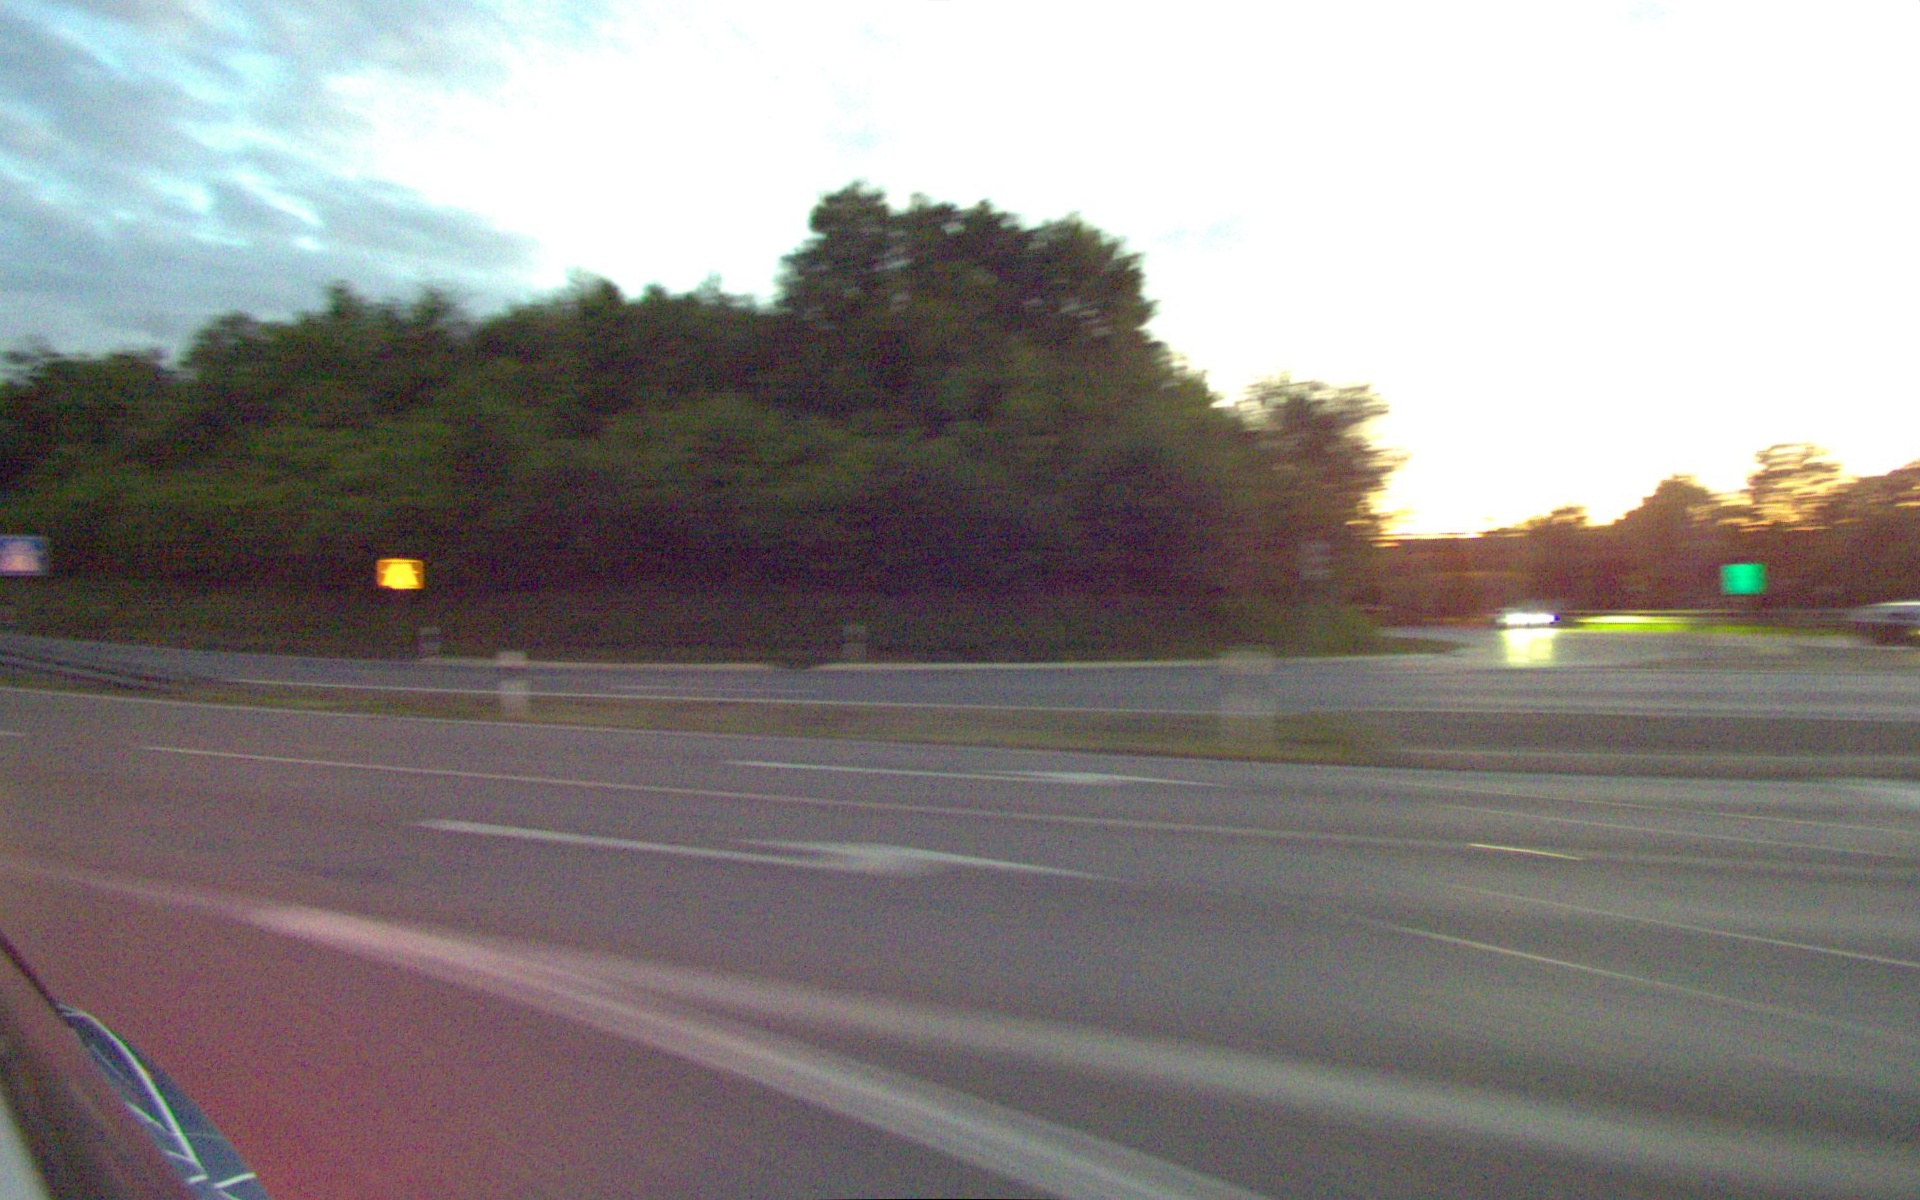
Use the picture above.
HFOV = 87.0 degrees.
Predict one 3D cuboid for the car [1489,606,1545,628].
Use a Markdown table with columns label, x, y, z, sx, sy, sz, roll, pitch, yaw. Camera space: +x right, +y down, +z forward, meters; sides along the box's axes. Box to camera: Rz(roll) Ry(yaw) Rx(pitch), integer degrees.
| label | x | y | z | sx | sy | sz | roll | pitch | yaw |
| --- | --- | --- | --- | --- | --- | --- | --- | --- | --- |
| car | 38.196 | 1.148 | 69.514 | 1.979 | 1.464 | 4.717 | -1 | -1 | 11 |

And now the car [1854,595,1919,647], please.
| label | x | y | z | sx | sy | sz | roll | pitch | yaw |
| --- | --- | --- | --- | --- | --- | --- | --- | --- | --- |
| car | 28.333 | 0.623 | 29.131 | 1.977 | 1.464 | 3.990 | 1 | -1 | 8 |
